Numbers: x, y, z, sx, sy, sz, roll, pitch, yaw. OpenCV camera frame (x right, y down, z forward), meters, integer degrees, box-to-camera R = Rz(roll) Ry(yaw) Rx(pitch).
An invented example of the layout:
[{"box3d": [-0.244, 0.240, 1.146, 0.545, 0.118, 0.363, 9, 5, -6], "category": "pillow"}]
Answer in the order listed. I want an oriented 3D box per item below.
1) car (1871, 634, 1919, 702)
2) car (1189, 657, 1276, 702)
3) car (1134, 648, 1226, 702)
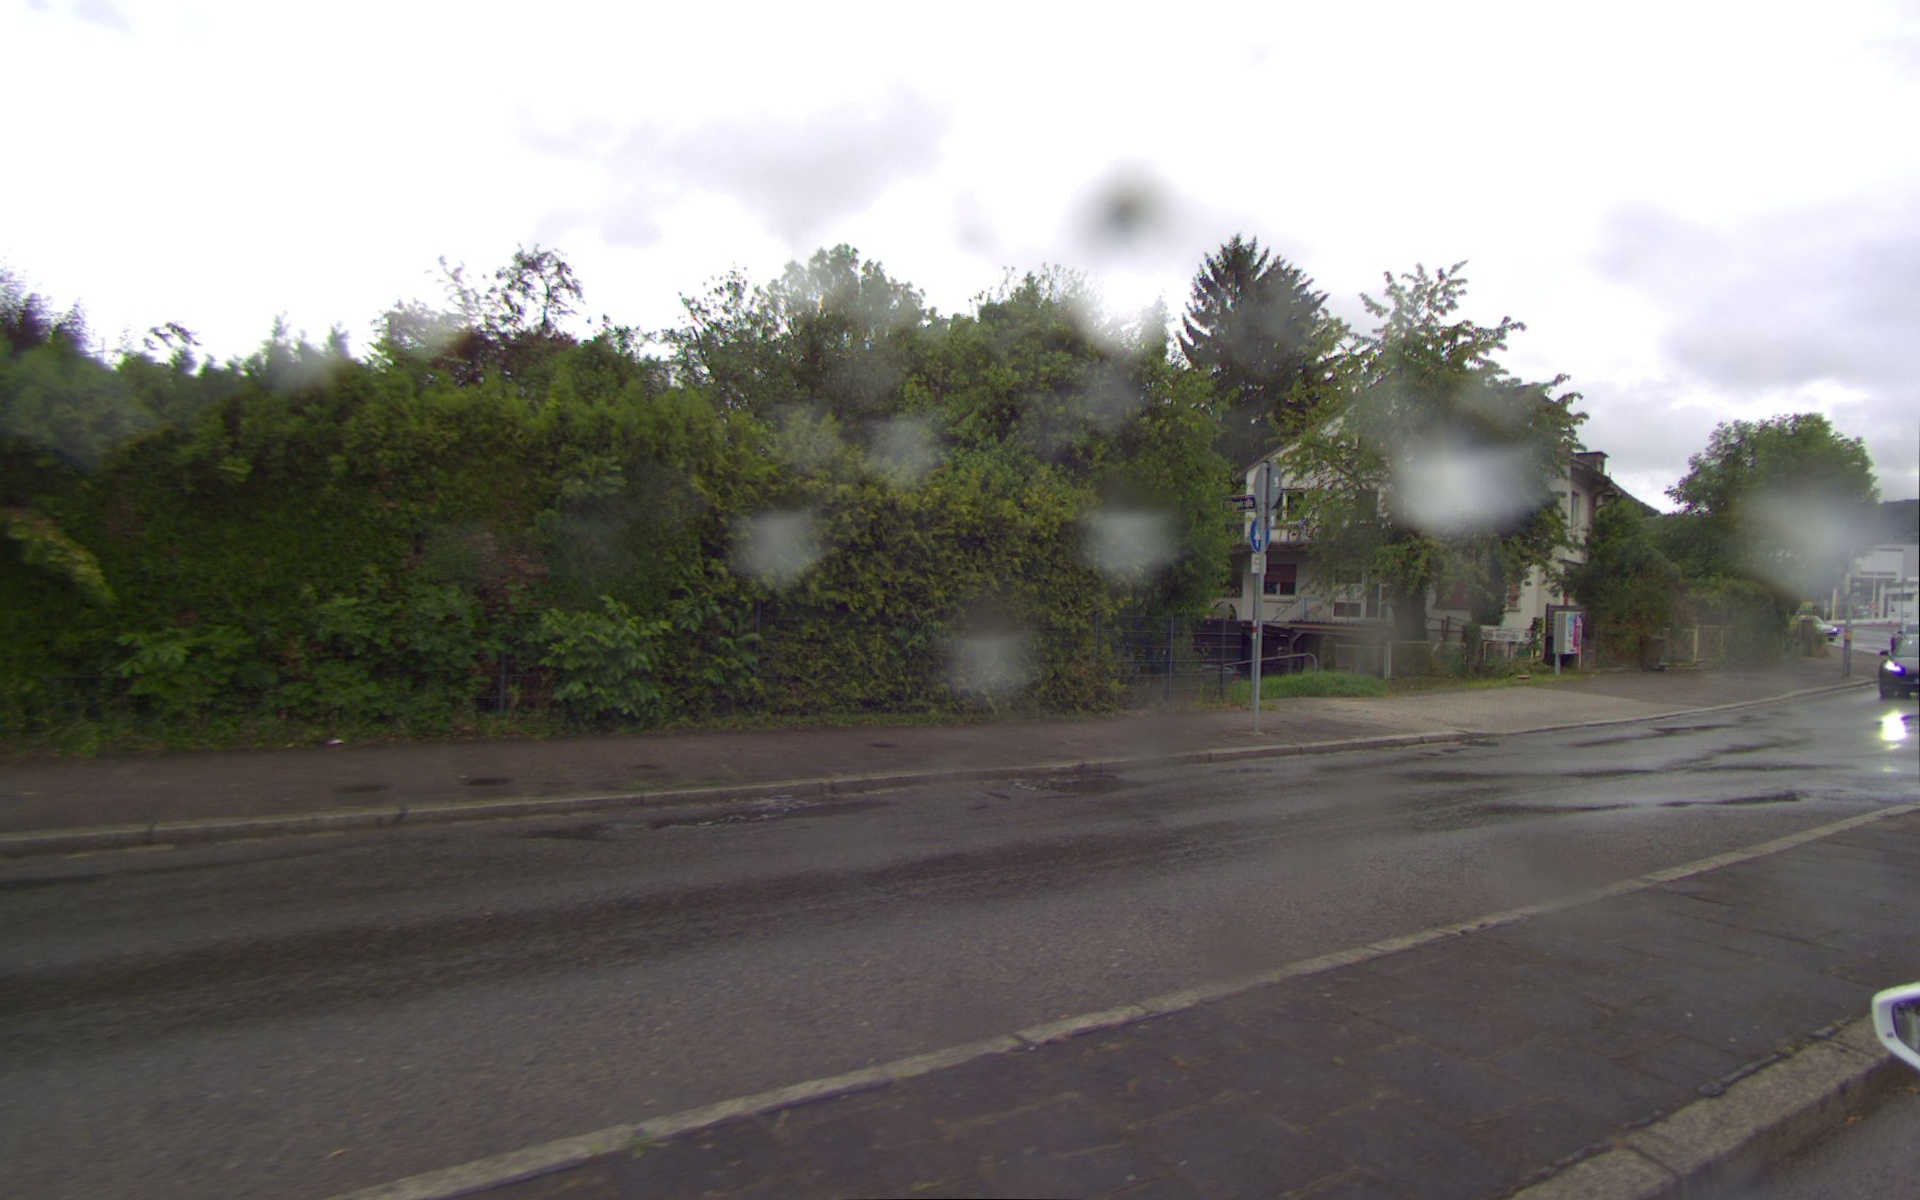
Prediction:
[{"box3d": [23.092, 1.577, 23.753, 4.121, 1.509, 1.777, 2, -2, -41], "category": "car"}, {"box3d": [9.724, 2.789, 35.644, 1.771, 1.503, 3.989, -4, -5, 34], "category": "car"}, {"box3d": [8.245, 2.785, 37.449, 1.773, 1.883, 3.985, -4, -5, 37], "category": "car"}]
